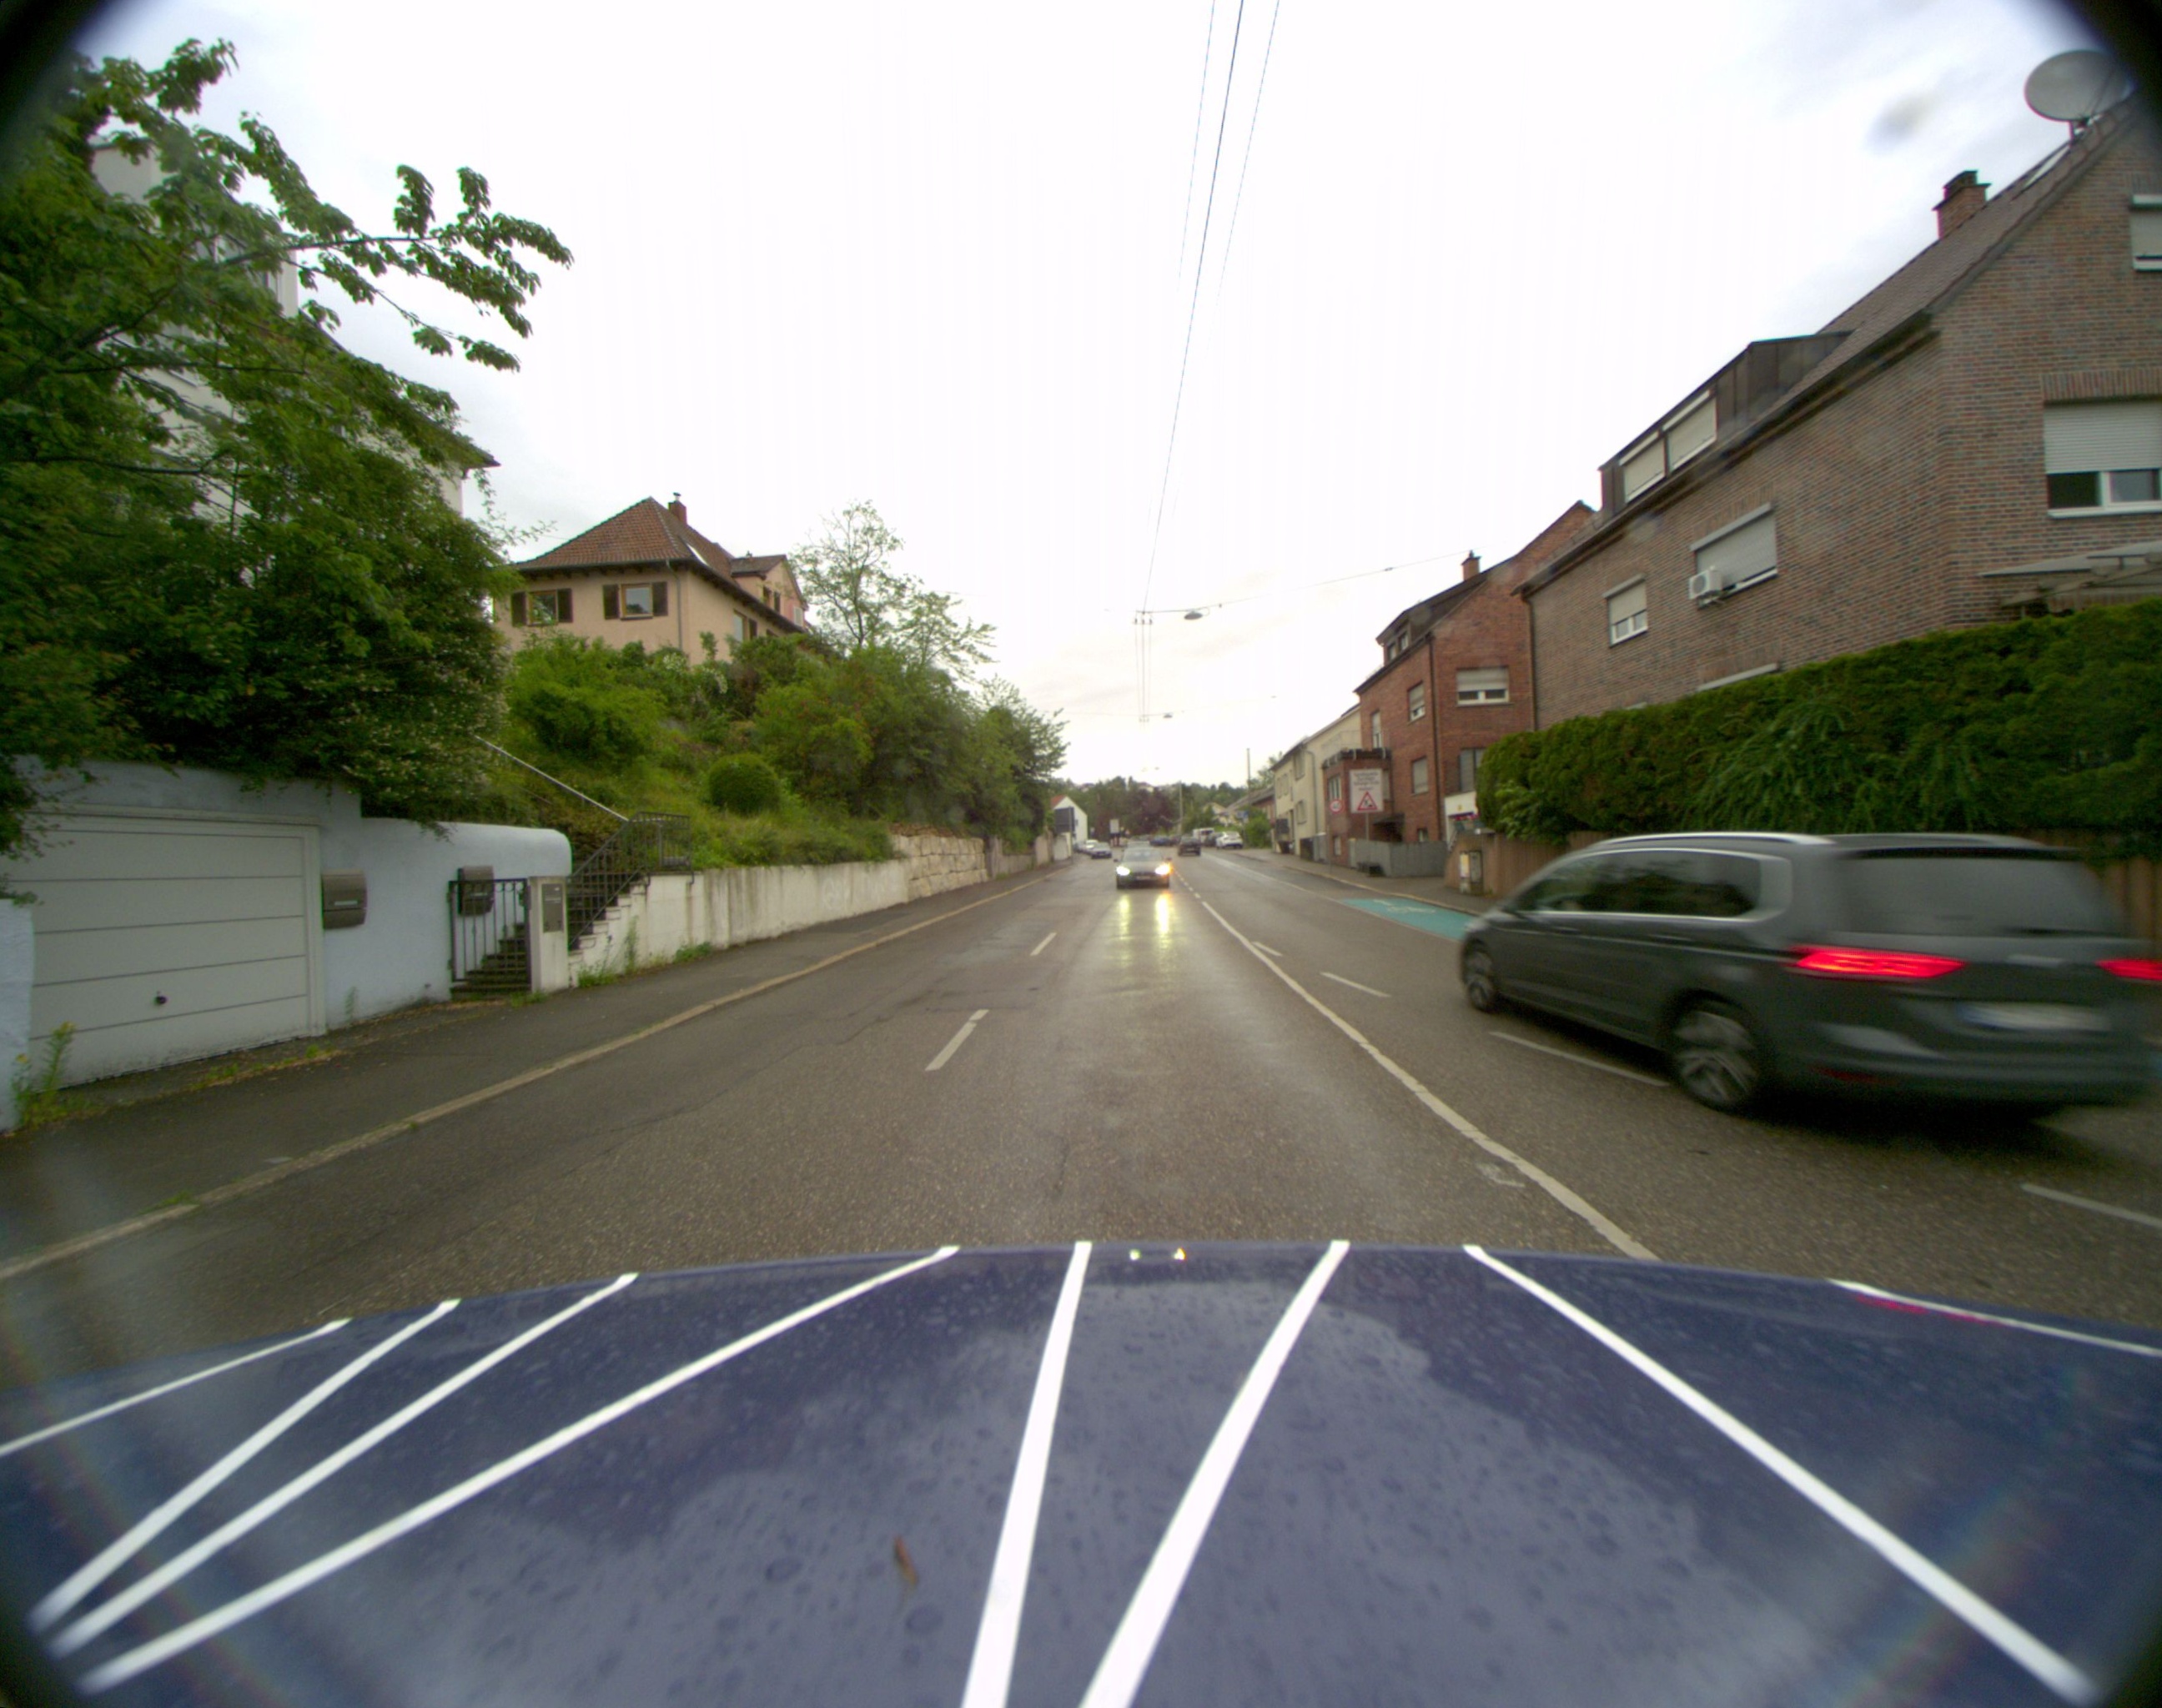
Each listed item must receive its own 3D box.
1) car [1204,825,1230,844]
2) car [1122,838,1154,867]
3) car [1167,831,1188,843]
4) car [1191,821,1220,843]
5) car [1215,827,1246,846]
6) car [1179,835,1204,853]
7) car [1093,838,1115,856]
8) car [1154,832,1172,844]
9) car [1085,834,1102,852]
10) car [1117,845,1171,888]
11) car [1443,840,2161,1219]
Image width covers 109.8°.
[{"bbox_3d":[14.130,-1.989,79.034,1.815,1.794,4.262,-4,1,1],"label":"car"},{"bbox_3d":[3.376,-0.117,45.309,1.789,1.580,3.783,-2,1,3],"label":"car"},{"bbox_3d":[12.189,-2.166,96.109,1.654,1.388,3.858,-4,1,-5],"label":"car"},{"bbox_3d":[13.902,-2.426,85.059,2.257,2.273,4.546,-4,1,-1],"label":"car"},{"bbox_3d":[13.923,-1.628,70.882,1.946,1.557,4.262,-4,1,1],"label":"car"},{"bbox_3d":[9.172,-0.863,63.283,1.919,1.438,3.718,-2,1,5],"label":"car"},{"bbox_3d":[2.198,-0.628,71.975,2.002,1.596,4.359,-2,-1,3],"label":"car"},{"bbox_3d":[10.932,-2.117,101.472,1.624,1.482,3.900,-4,1,-5],"label":"car"},{"bbox_3d":[1.419,-1.288,87.710,1.820,1.855,4.038,-2,2,-2],"label":"car"},{"bbox_3d":[2.327,0.428,28.657,1.870,1.407,4.000,-2,1,3],"label":"car"},{"bbox_3d":[4.492,0.760,5.416,1.853,1.670,4.172,0,0,0],"label":"car"}]
